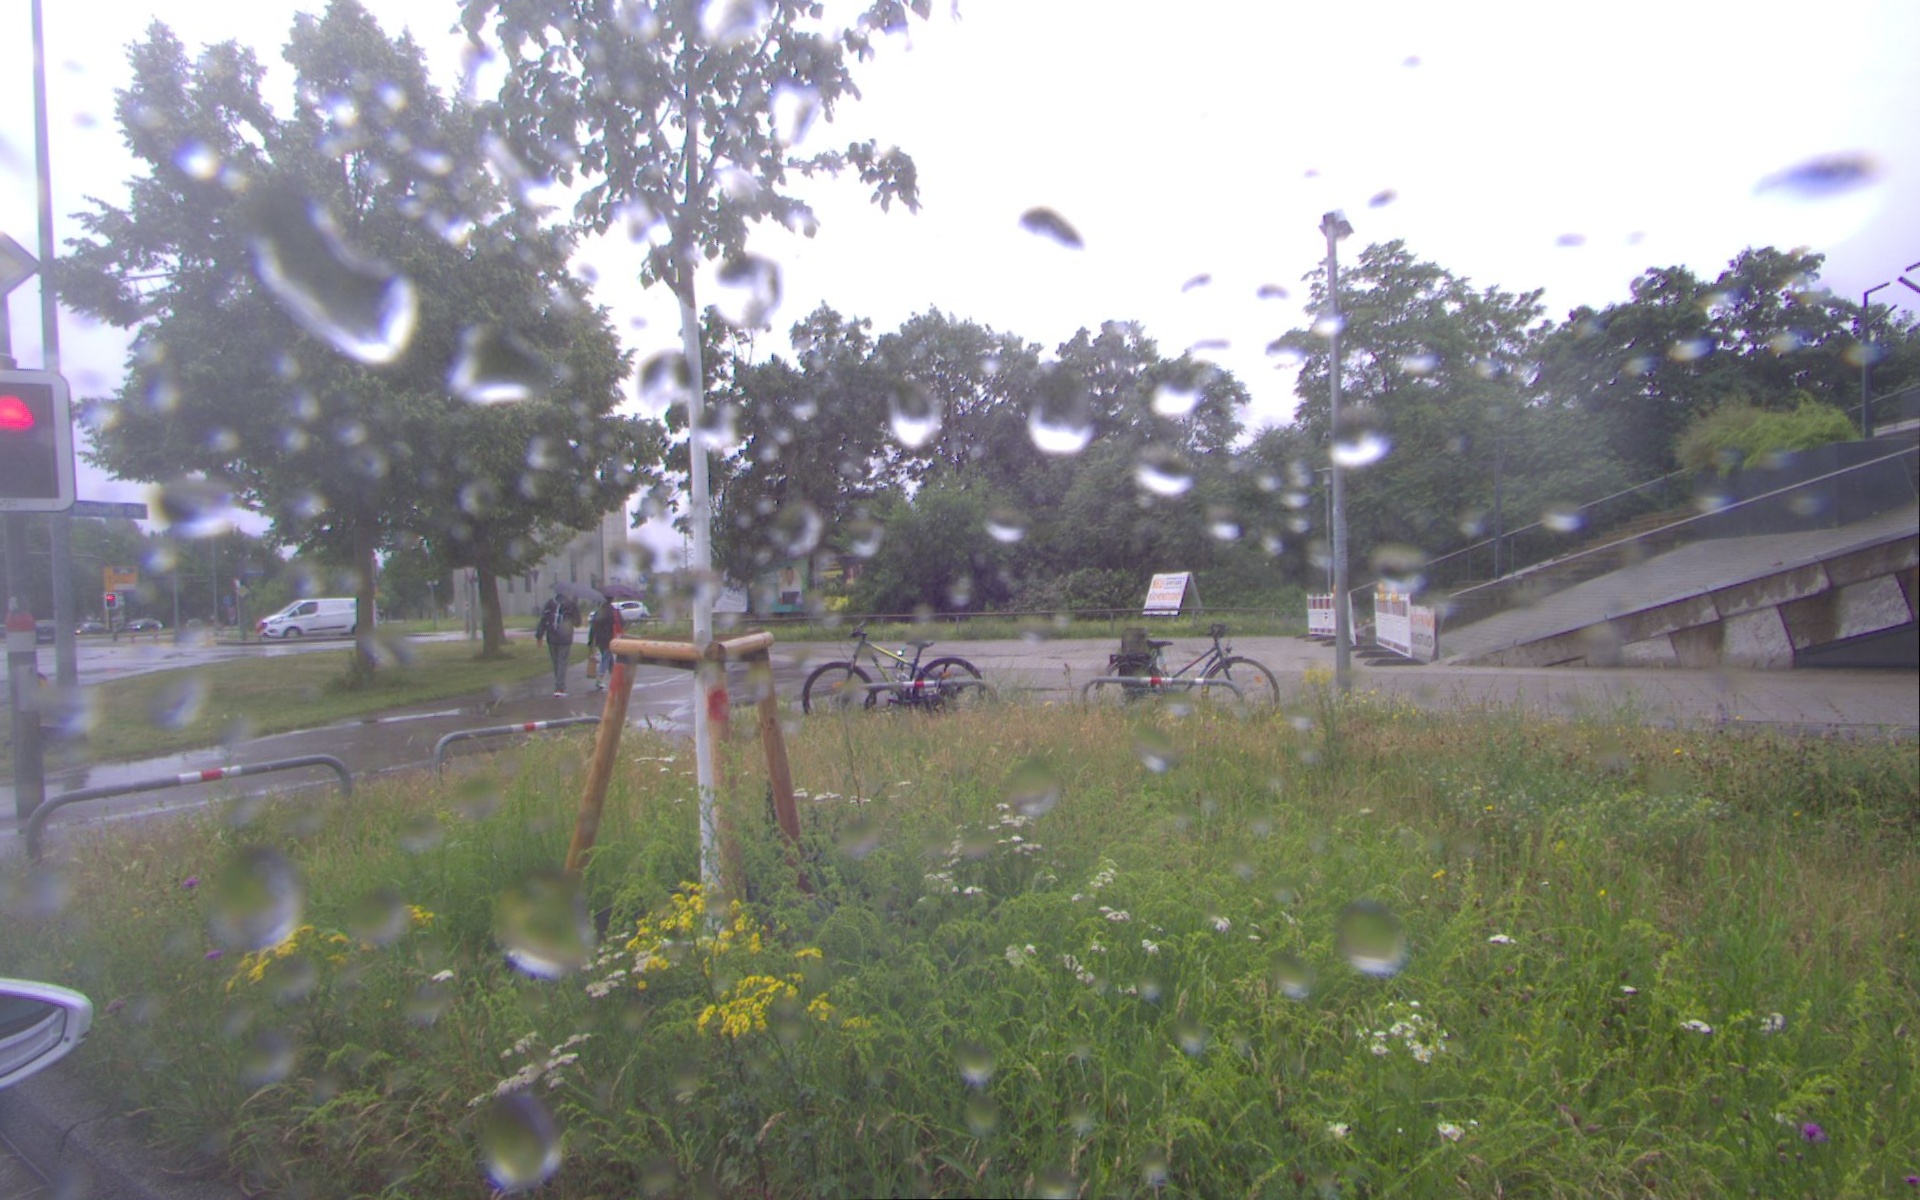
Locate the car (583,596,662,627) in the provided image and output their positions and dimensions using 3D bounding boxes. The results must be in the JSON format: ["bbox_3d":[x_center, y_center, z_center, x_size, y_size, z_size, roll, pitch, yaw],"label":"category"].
[{"bbox_3d":[-21.959,0.732,65.357,1.970,1.876,4.754,-1,0,29],"label":"car"}]

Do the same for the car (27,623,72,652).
[{"bbox_3d":[-49.890,2.042,54.842,3.947,1.473,1.608,-1,0,45],"label":"car"}]

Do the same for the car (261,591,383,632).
[{"bbox_3d":[-31.502,0.619,49.521,1.978,1.874,4.739,-2,-3,41],"label":"car"}]

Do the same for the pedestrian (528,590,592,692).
[{"bbox_3d":[-6.193,0.627,15.509,0.730,1.542,0.620,-1,-1,31],"label":"pedestrian"}]

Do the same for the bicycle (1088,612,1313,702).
[{"bbox_3d":[2.209,0.530,9.305,1.972,0.796,0.454,-1,-2,16],"label":"bicycle"}]

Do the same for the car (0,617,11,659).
[{"bbox_3d":[-45.268,1.700,44.080,4.686,1.874,2.000,0,-2,-10],"label":"car"}]

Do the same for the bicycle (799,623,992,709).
[{"bbox_3d":[-0.615,0.636,9.681,1.823,0.797,0.380,0,-2,-2],"label":"bicycle"}]

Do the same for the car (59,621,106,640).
[{"bbox_3d":[-80.915,2.822,92.394,1.770,1.683,3.995,0,-2,-16],"label":"car"}]

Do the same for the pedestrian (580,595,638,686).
[{"bbox_3d":[-5.939,0.677,16.956,0.564,1.480,0.679,-1,1,28],"label":"pedestrian"}]

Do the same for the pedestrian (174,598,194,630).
[{"bbox_3d":[-46.713,0.824,60.278,0.660,1.892,0.813,-2,-2,40],"label":"pedestrian"}]
